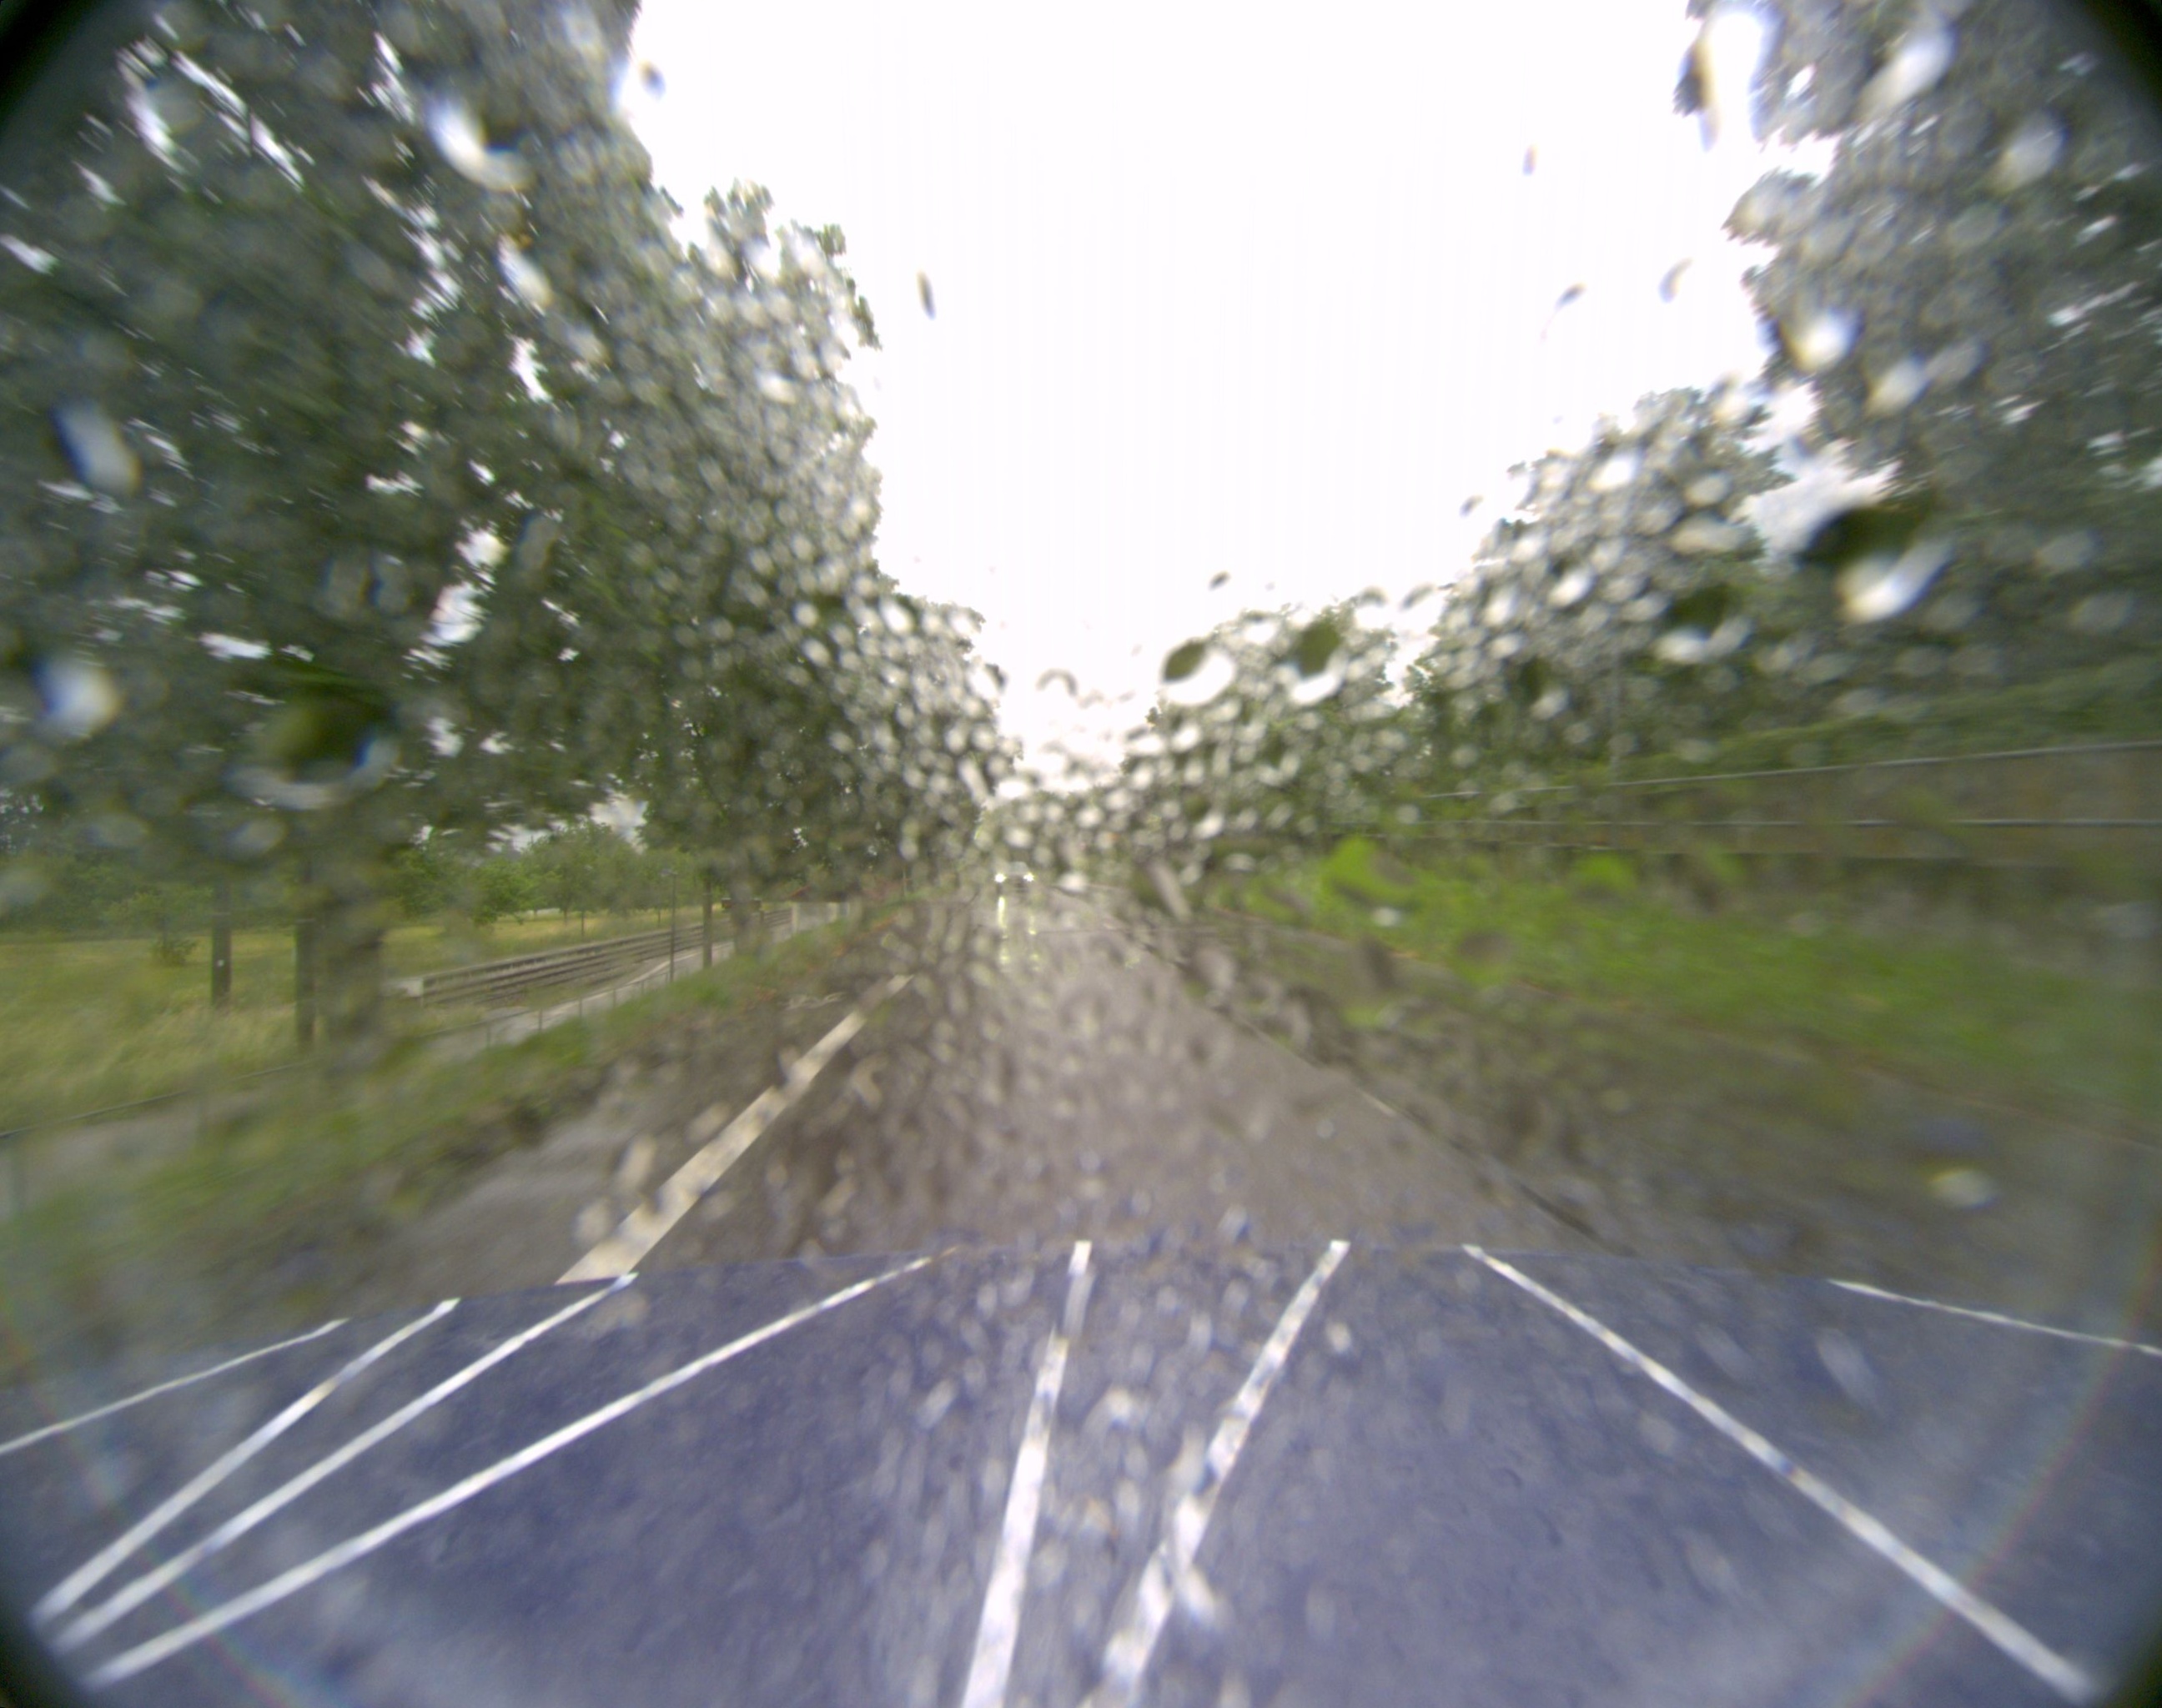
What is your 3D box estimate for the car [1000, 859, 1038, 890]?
[{"bbox_3d":[-3.145,1.052,37.998,1.766,1.476,3.790,0,-2,-7],"label":"car"}]
